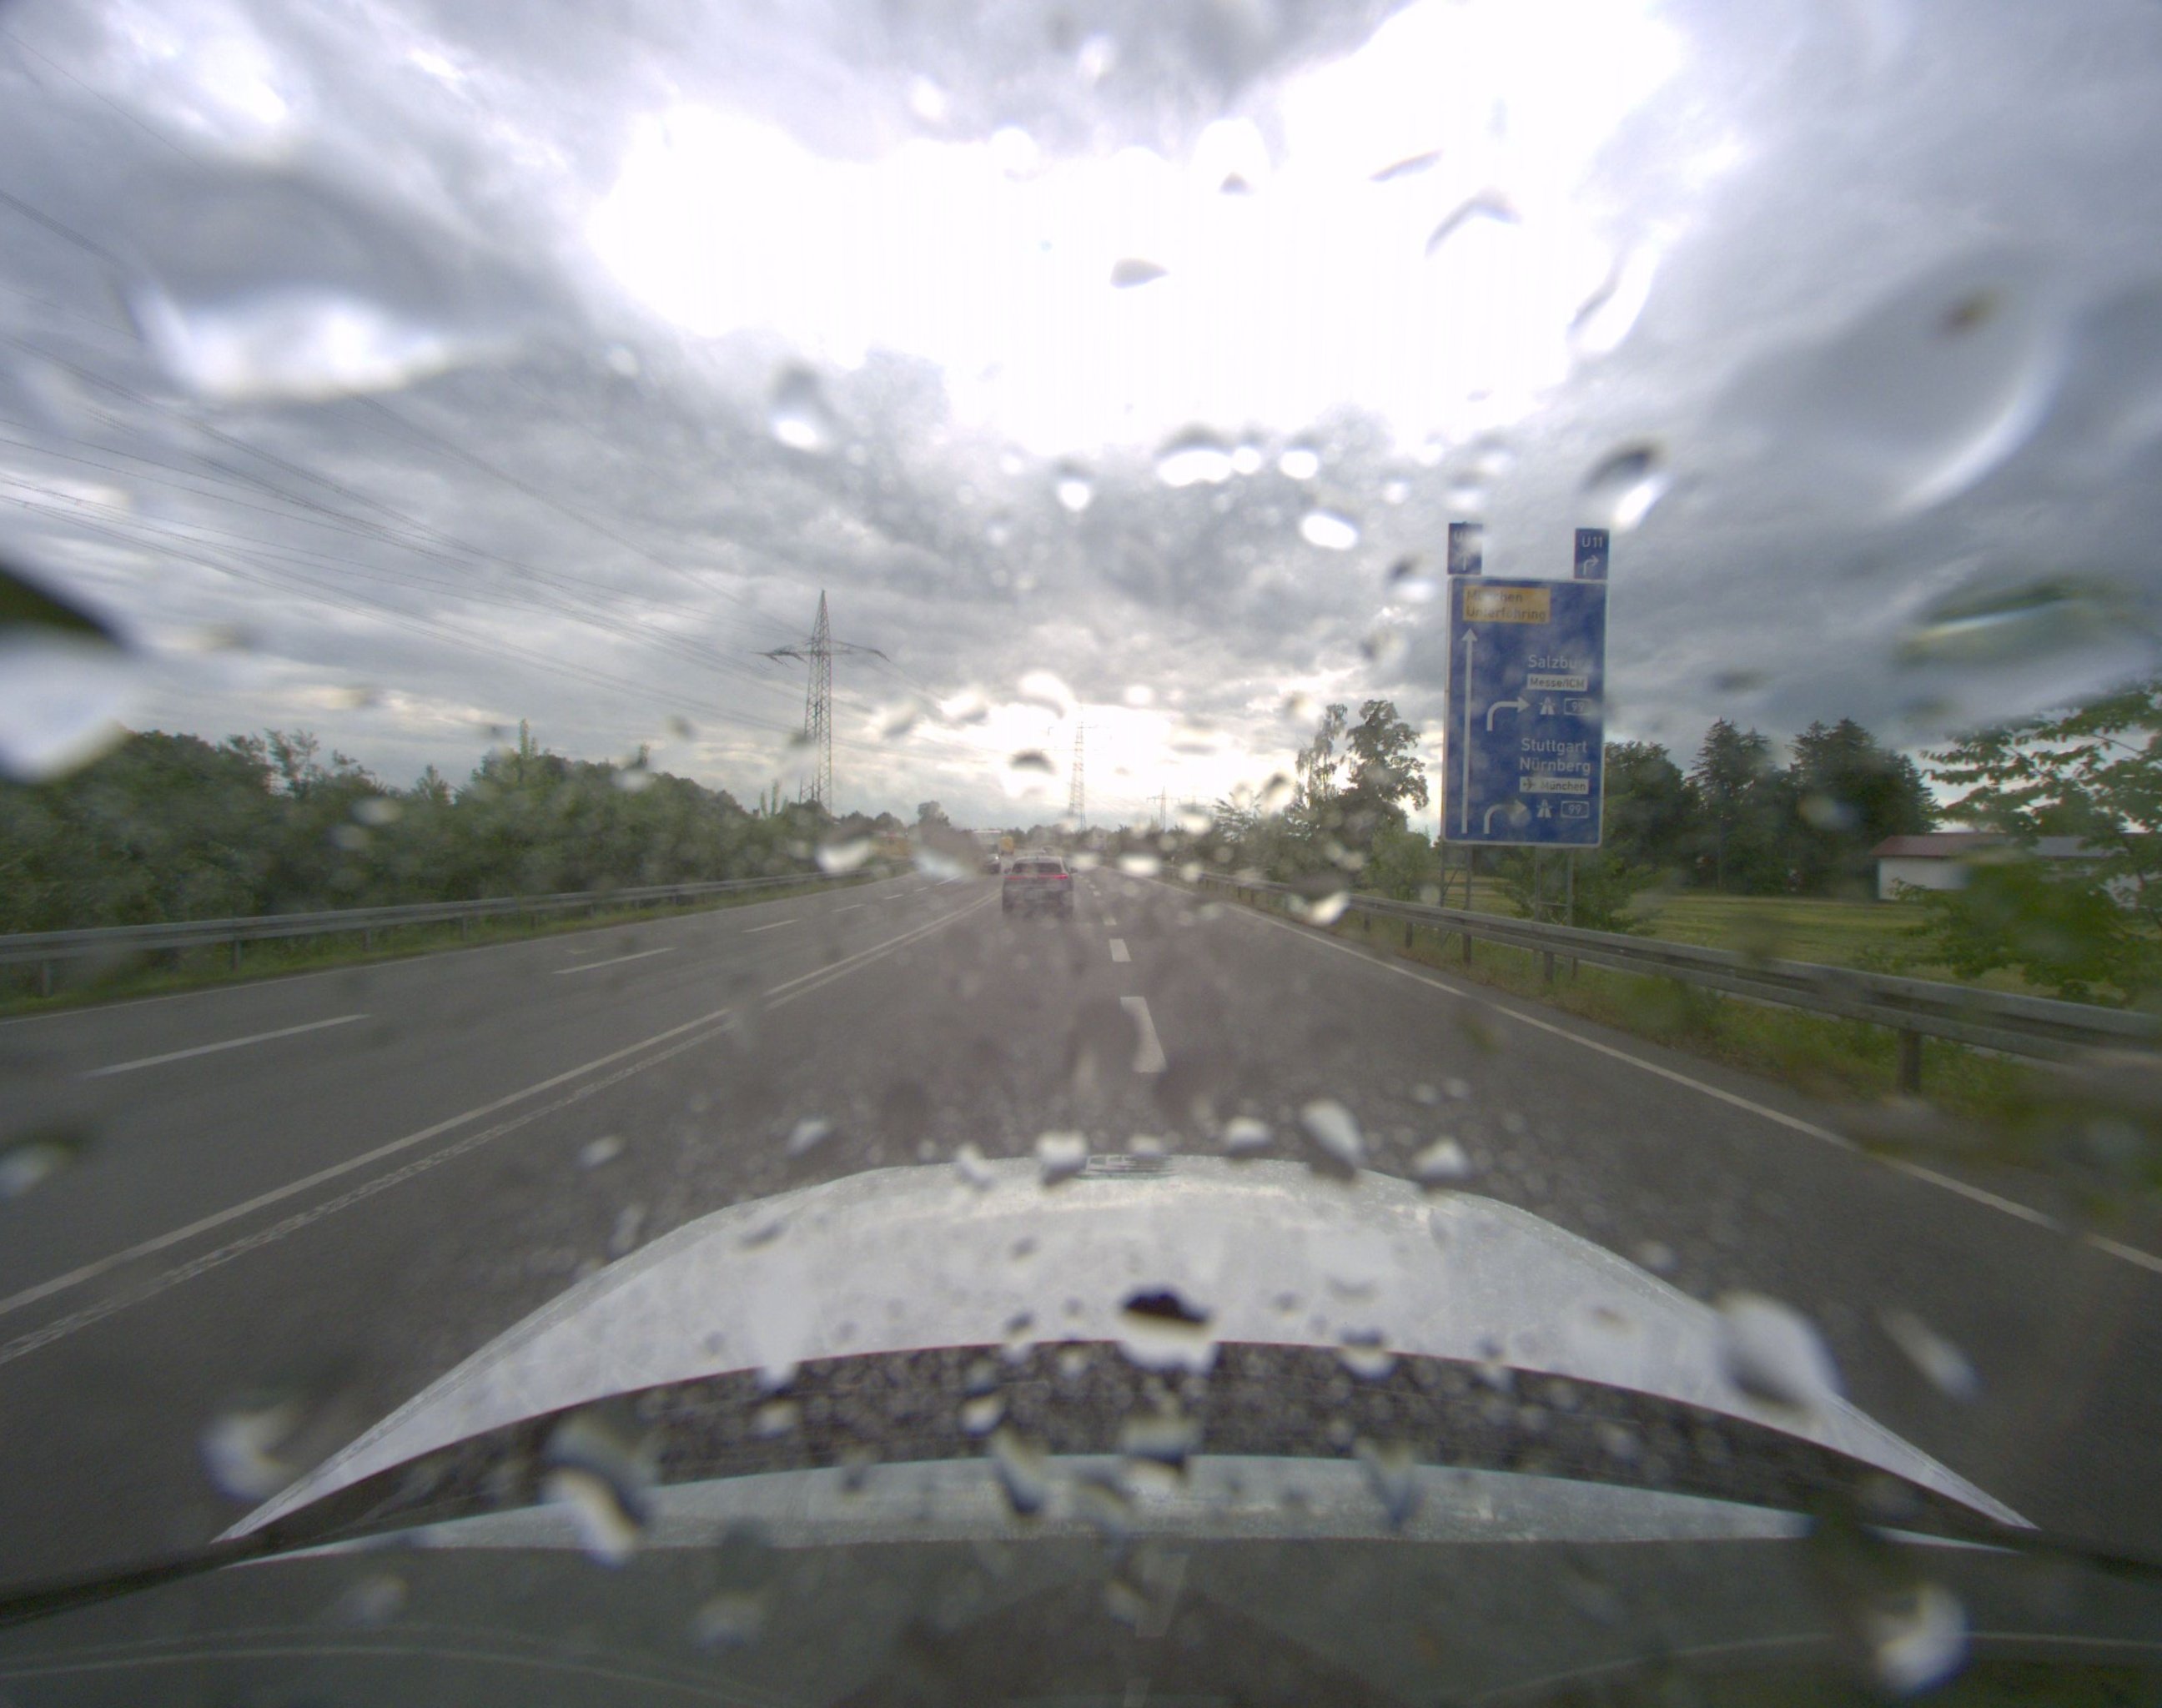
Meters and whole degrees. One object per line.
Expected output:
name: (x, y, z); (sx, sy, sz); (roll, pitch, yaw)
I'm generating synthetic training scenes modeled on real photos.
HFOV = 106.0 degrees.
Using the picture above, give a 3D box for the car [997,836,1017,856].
car: (-10.763, -1.102, 117.906); (2.571, 2.725, 7.177); (0, 0, -8)

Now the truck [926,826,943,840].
truck: (-37.639, -5.387, 208.949); (3.057, 3.384, 7.591); (0, 0, -21)

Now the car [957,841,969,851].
car: (-21.521, -1.446, 148.517); (1.801, 1.575, 4.243); (-1, 0, -11)

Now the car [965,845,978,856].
car: (-16.599, -0.565, 123.751); (1.797, 1.575, 4.250); (-1, 0, -6)

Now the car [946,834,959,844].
car: (-29.452, -3.387, 186.555); (2.606, 2.250, 5.507); (0, 0, -15)

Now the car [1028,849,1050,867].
car: (-3.596, 0.347, 69.805); (1.788, 1.441, 3.994); (-1, 0, -4)

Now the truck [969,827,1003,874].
truck: (-6.934, -0.241, 59.209); (2.254, 3.156, 6.673); (-1, 0, -7)

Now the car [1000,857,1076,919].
car: (-1.060, 0.832, 21.662); (1.786, 1.441, 3.999); (-2, 0, -1)

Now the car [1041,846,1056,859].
car: (-4.146, -0.158, 102.521); (1.787, 1.541, 3.996); (-2, 0, -3)
